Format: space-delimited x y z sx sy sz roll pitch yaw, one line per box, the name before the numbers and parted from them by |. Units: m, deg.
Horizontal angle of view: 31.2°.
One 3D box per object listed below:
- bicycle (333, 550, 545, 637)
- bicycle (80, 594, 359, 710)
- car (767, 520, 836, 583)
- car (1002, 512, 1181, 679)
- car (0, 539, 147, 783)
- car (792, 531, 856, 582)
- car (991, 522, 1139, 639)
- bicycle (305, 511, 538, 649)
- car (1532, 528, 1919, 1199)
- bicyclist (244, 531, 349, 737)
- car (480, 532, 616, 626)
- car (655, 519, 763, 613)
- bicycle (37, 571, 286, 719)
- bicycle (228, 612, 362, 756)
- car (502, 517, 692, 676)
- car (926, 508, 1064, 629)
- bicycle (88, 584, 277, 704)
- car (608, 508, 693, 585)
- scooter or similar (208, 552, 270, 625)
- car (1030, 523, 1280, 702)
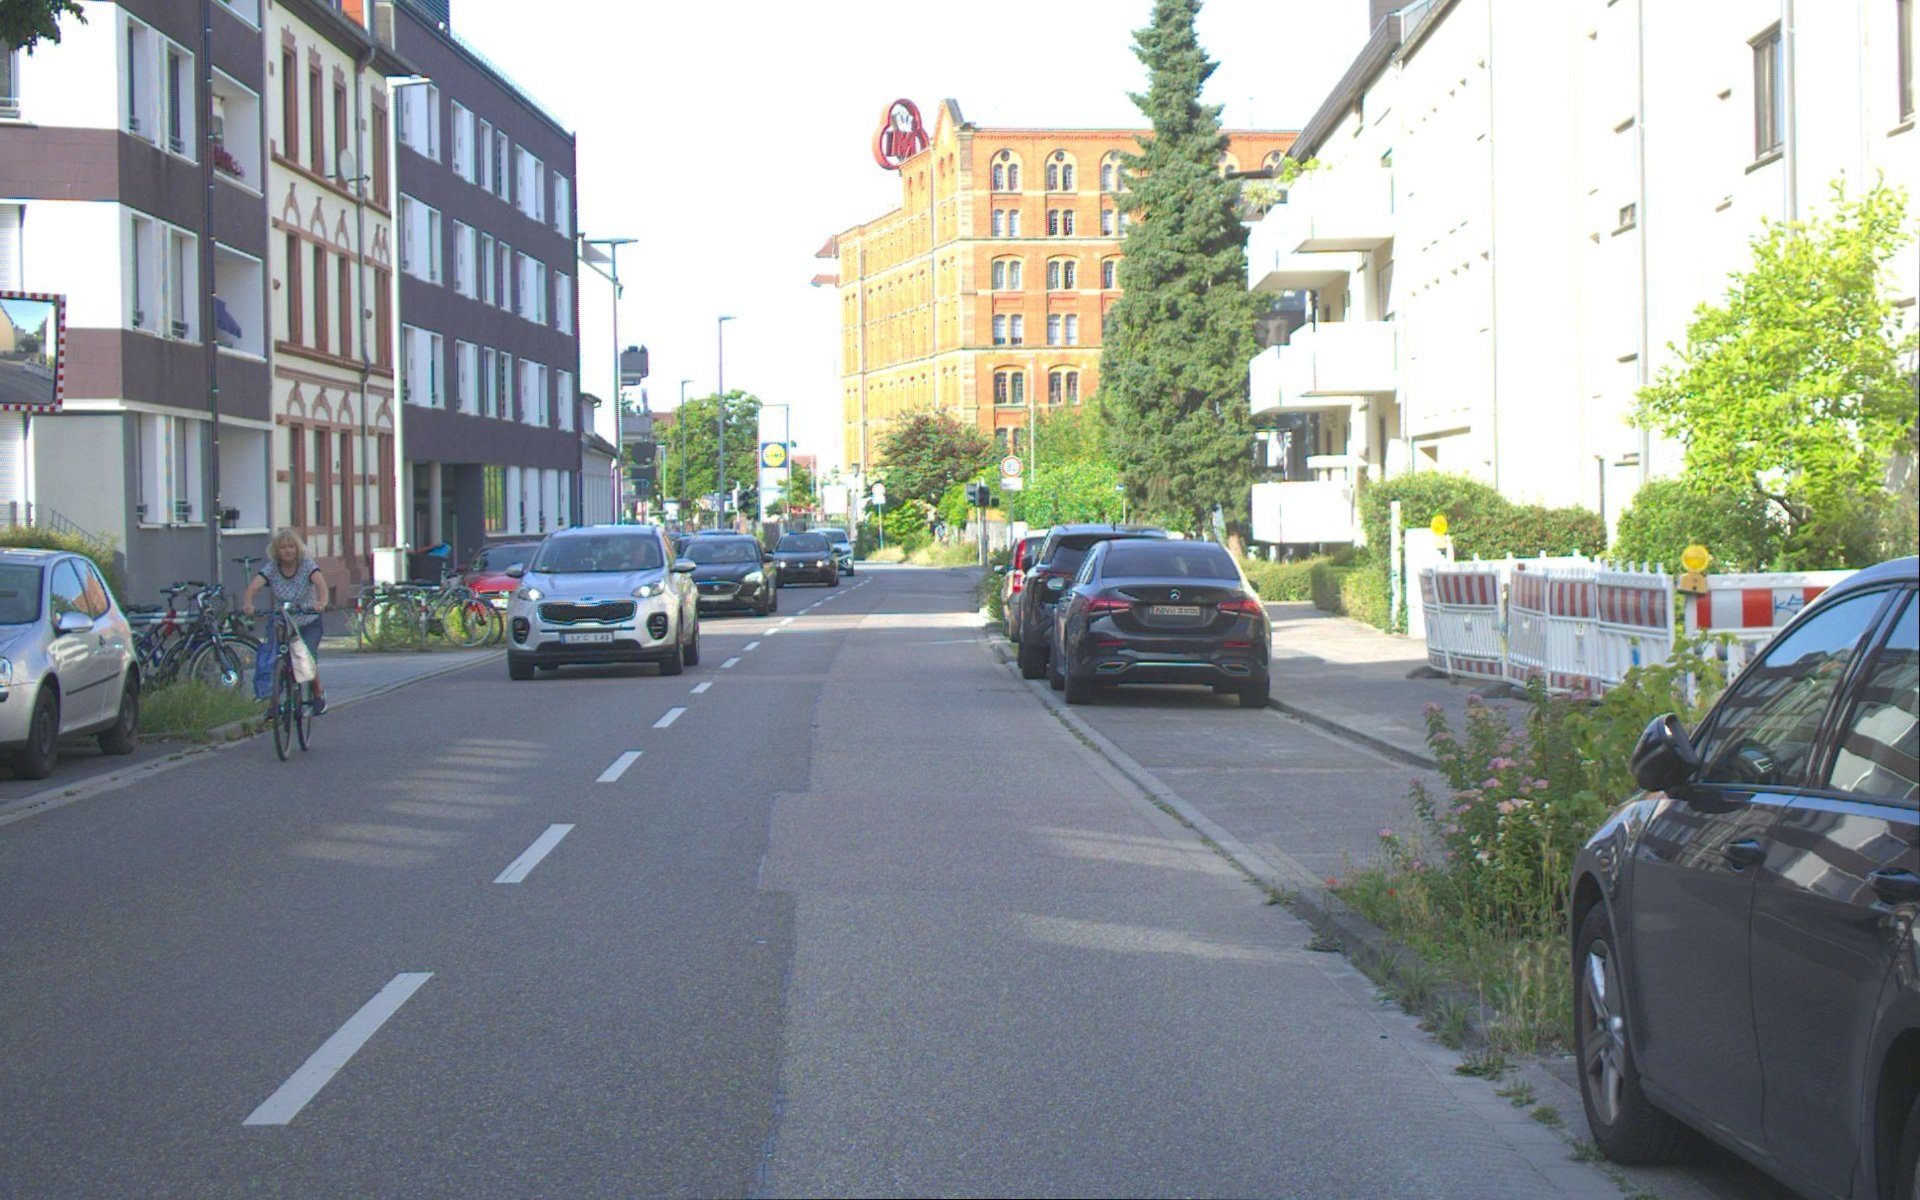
bicycle | -7.264 -0.100 48.027 2.772 1.140 1.143 -1 1 -1
bicycle | -6.509 0.453 30.313 2.339 0.967 0.708 -1 1 -7
car | -4.222 -1.304 92.080 1.763 1.610 4.001 -1 1 -2
car | 1.335 -0.083 36.217 1.601 1.640 3.685 -1 1 -2
car | -6.709 0.346 23.223 1.676 1.496 4.001 0 1 -3
car | -4.392 -1.433 111.375 1.993 1.590 4.000 -1 1 -1
car | 1.423 -0.303 47.944 1.763 1.521 4.001 -2 1 -2
bicycle | -7.218 -0.278 46.251 2.917 1.771 1.202 -1 1 -1
car | 2.386 0.603 6.597 1.830 1.477 3.943 -1 1 -1
bicyclist | -4.721 0.229 24.491 0.591 1.437 0.751 -1 1 -1
car | -6.657 -0.365 55.796 1.840 1.459 3.585 -1 1 -1
car | -4.553 -0.647 62.727 1.763 1.610 4.001 -1 1 -2
bicycle | -6.817 0.376 29.428 2.000 1.213 0.708 -1 1 -7
bicycle | -4.718 0.576 24.483 0.608 0.939 1.811 0 1 0
car | -3.940 -0.077 37.851 1.763 1.610 4.001 -1 1 -2
car | 0.495 -0.508 52.699 1.993 1.766 4.000 0 1 -1
bicycle | -7.004 0.386 31.015 1.584 1.037 0.708 -1 1 -7
car | -8.248 -1.444 91.979 1.993 2.007 4.000 -1 1 -1
scooter or similar | -11.245 -0.194 53.636 0.633 1.100 1.610 1 1 -1
car | 1.685 0.068 31.004 1.859 1.467 4.001 -1 1 -2
